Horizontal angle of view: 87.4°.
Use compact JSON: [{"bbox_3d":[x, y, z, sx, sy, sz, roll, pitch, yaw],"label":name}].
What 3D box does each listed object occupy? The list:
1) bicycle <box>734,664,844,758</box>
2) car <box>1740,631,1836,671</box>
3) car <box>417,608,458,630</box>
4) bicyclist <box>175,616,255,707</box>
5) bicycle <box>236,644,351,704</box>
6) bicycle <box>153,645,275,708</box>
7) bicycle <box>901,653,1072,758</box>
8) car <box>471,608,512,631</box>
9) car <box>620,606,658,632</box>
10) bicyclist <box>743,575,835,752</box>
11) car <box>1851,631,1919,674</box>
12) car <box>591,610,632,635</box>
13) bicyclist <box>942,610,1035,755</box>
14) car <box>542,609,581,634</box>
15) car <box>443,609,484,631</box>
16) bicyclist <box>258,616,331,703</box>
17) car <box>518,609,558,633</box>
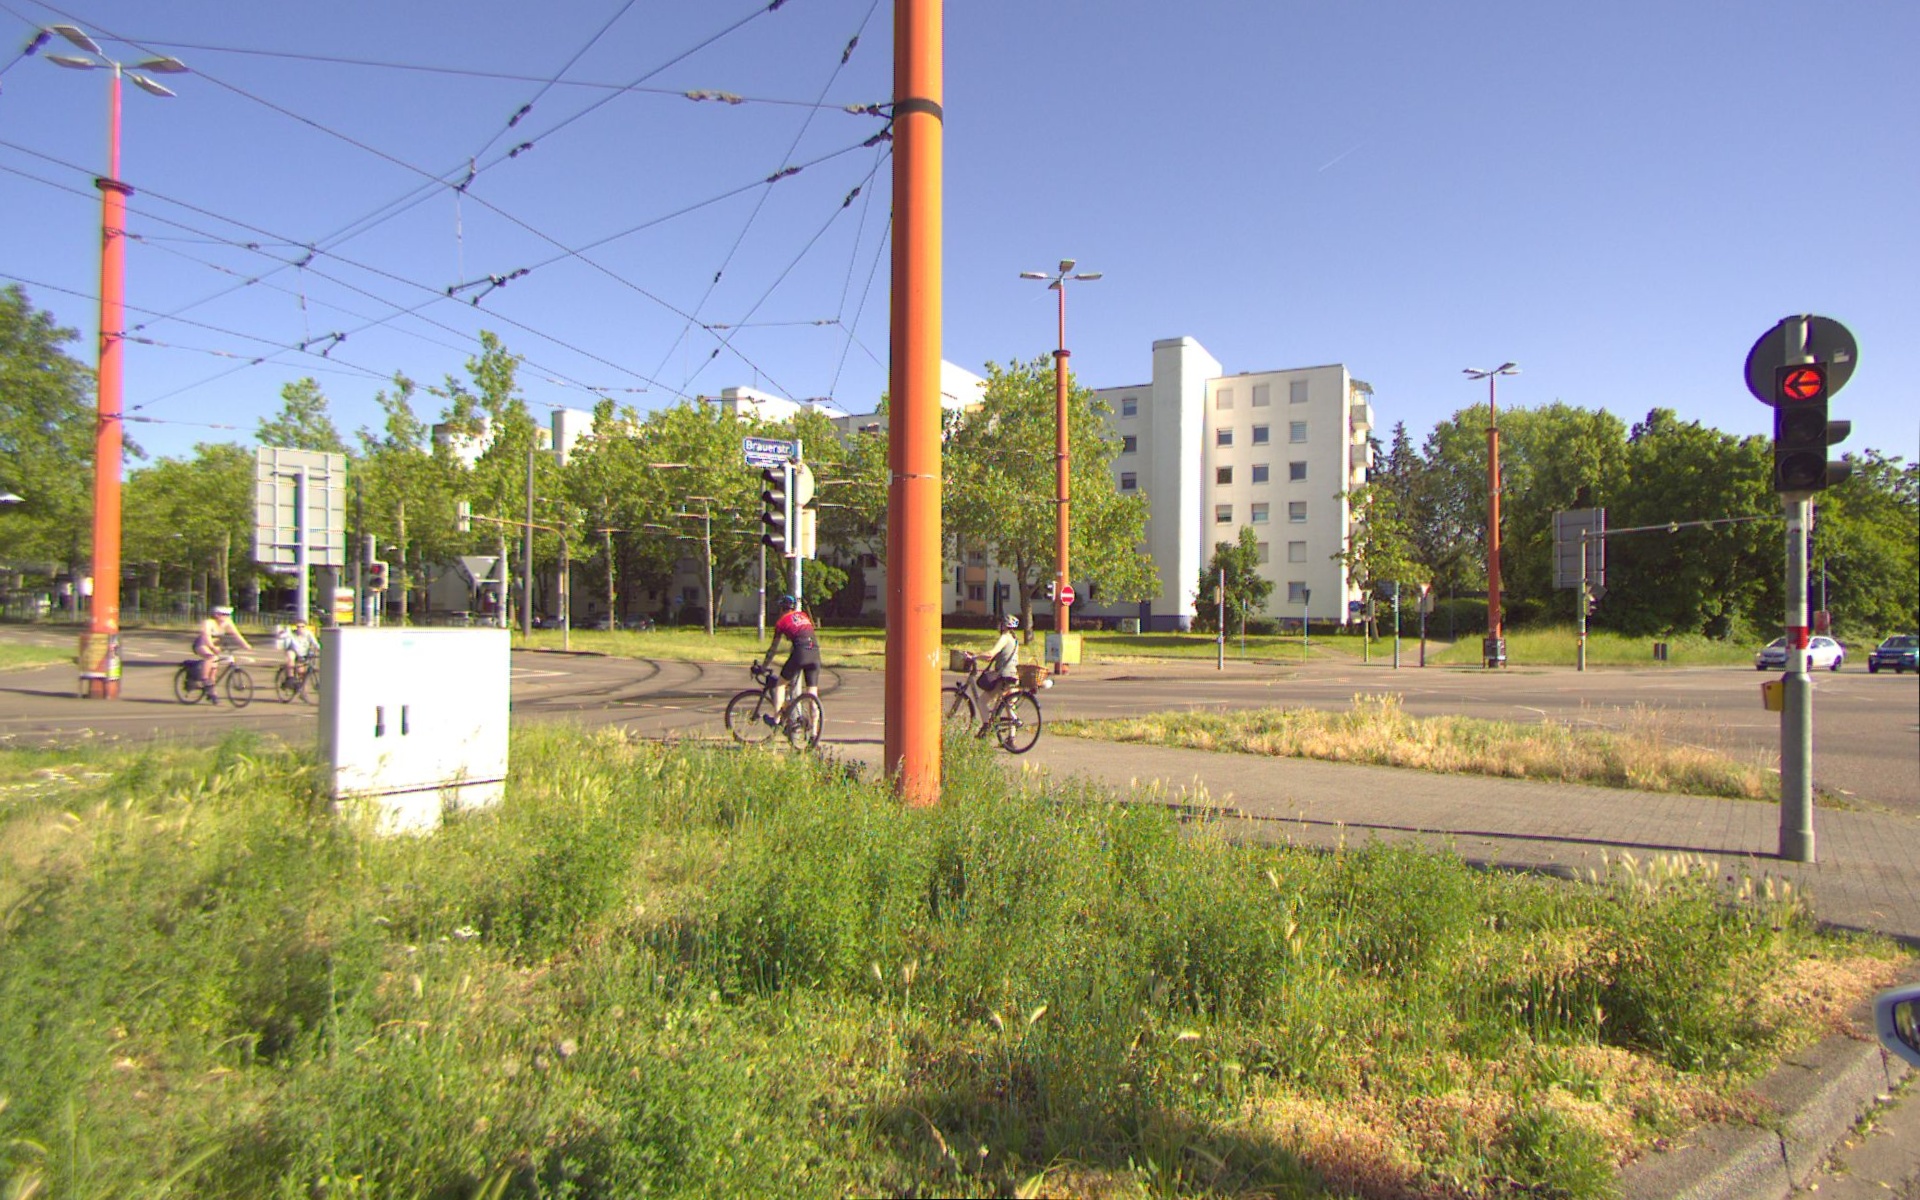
[{"bbox_3d":[-2.120,1.310,12.245,0.915,0.976,1.747,1,-1,-24],"label":"bicycle"},{"bbox_3d":[35.143,2.152,42.610,4.075,1.594,1.983,1,-1,-32],"label":"car"},{"bbox_3d":[-46.019,1.679,88.491,1.963,1.840,3.995,1,-1,-8],"label":"car"},{"bbox_3d":[-14.006,1.136,18.908,0.726,1.659,0.934,0,-1,18],"label":"bicyclist"},{"bbox_3d":[-13.255,1.445,19.991,1.849,1.102,0.928,0,-1,18],"label":"bicycle"},{"bbox_3d":[-14.033,1.415,18.906,1.849,1.102,0.928,0,-1,18],"label":"bicycle"},{"bbox_3d":[0.309,1.229,12.130,1.855,1.102,0.925,0,-1,34],"label":"bicycle"},{"bbox_3d":[-39.281,1.644,84.340,1.963,1.840,3.995,1,-1,-8],"label":"car"},{"bbox_3d":[-23.401,1.402,73.429,1.963,1.840,3.995,1,-1,-8],"label":"car"},{"bbox_3d":[-2.071,0.750,12.149,0.921,2.040,0.736,1,-1,-25],"label":"bicyclist"},{"bbox_3d":[37.266,2.039,39.870,4.079,1.594,1.981,2,-1,-35],"label":"car"},{"bbox_3d":[-26.107,1.689,75.341,1.962,1.840,3.997,1,-1,-5],"label":"car"},{"bbox_3d":[0.354,0.959,12.106,0.728,1.659,0.931,0,-1,35],"label":"bicyclist"},{"bbox_3d":[-31.190,1.678,78.691,1.963,1.840,3.995,1,-1,-8],"label":"car"},{"bbox_3d":[-42.670,1.702,86.462,1.963,1.840,3.995,1,-1,-8],"label":"car"},{"bbox_3d":[-13.216,1.165,19.979,0.726,1.659,0.934,0,-1,18],"label":"bicyclist"},{"bbox_3d":[-33.806,1.674,80.541,1.963,1.840,3.995,1,-1,-8],"label":"car"}]
